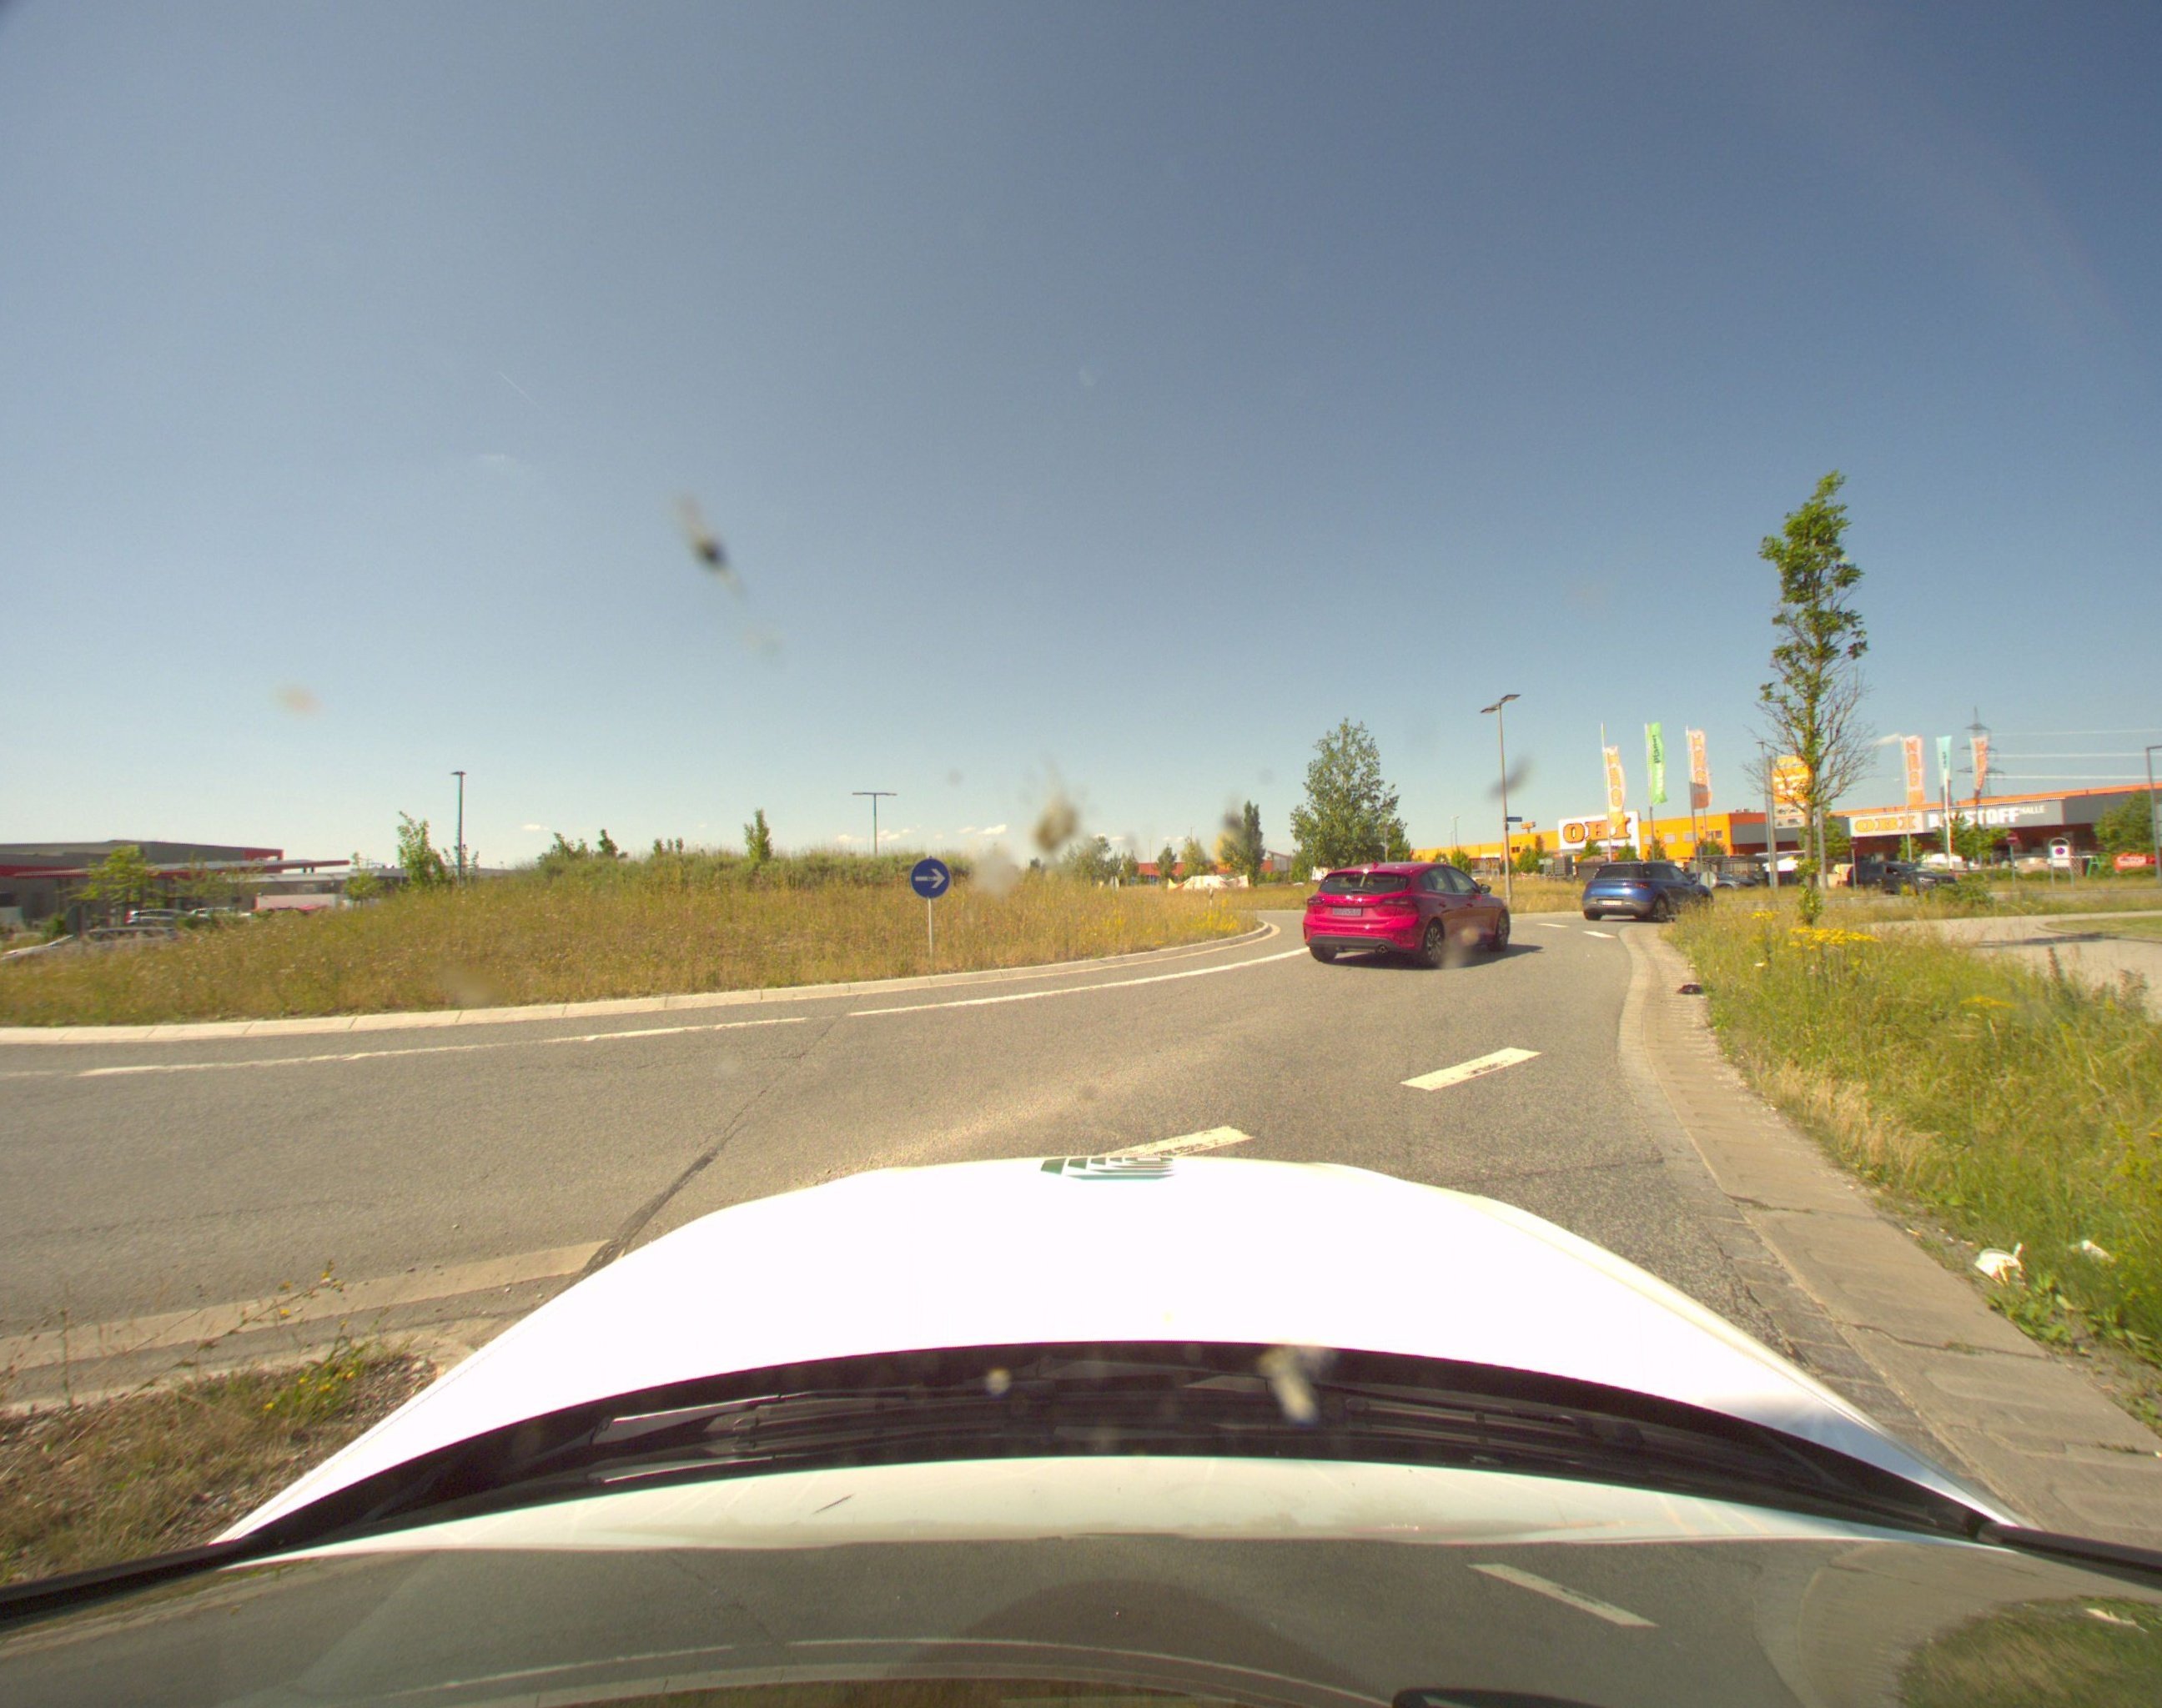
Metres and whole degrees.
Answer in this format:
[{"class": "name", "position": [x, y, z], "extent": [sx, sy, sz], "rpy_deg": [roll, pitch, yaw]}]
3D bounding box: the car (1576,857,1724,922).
[{"class": "car", "position": [15.622, 0.917, 22.326], "extent": [4.094, 1.635, 1.838], "rpy_deg": [0, -2, -32]}]

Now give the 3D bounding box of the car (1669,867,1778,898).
[{"class": "car", "position": [38.141, 1.755, 48.512], "extent": [2.079, 1.627, 4.664], "rpy_deg": [0, -4, -20]}]

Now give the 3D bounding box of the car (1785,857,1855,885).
[{"class": "car", "position": [50.935, 1.218, 56.146], "extent": [3.766, 1.841, 1.692], "rpy_deg": [1, -3, -14]}]

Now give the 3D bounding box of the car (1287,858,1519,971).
[{"class": "car", "position": [5.062, 0.806, 12.503], "extent": [1.786, 1.416, 4.141], "rpy_deg": [-3, -2, 45]}]

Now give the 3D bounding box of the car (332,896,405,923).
[{"class": "car", "position": [-57.086, 4.444, 65.389], "extent": [1.994, 2.014, 5.117], "rpy_deg": [-1, -3, -10]}]

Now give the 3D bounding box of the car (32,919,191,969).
[{"class": "car", "position": [-36.710, 3.362, 31.012], "extent": [1.820, 1.561, 3.789], "rpy_deg": [-4, -3, 42]}]
